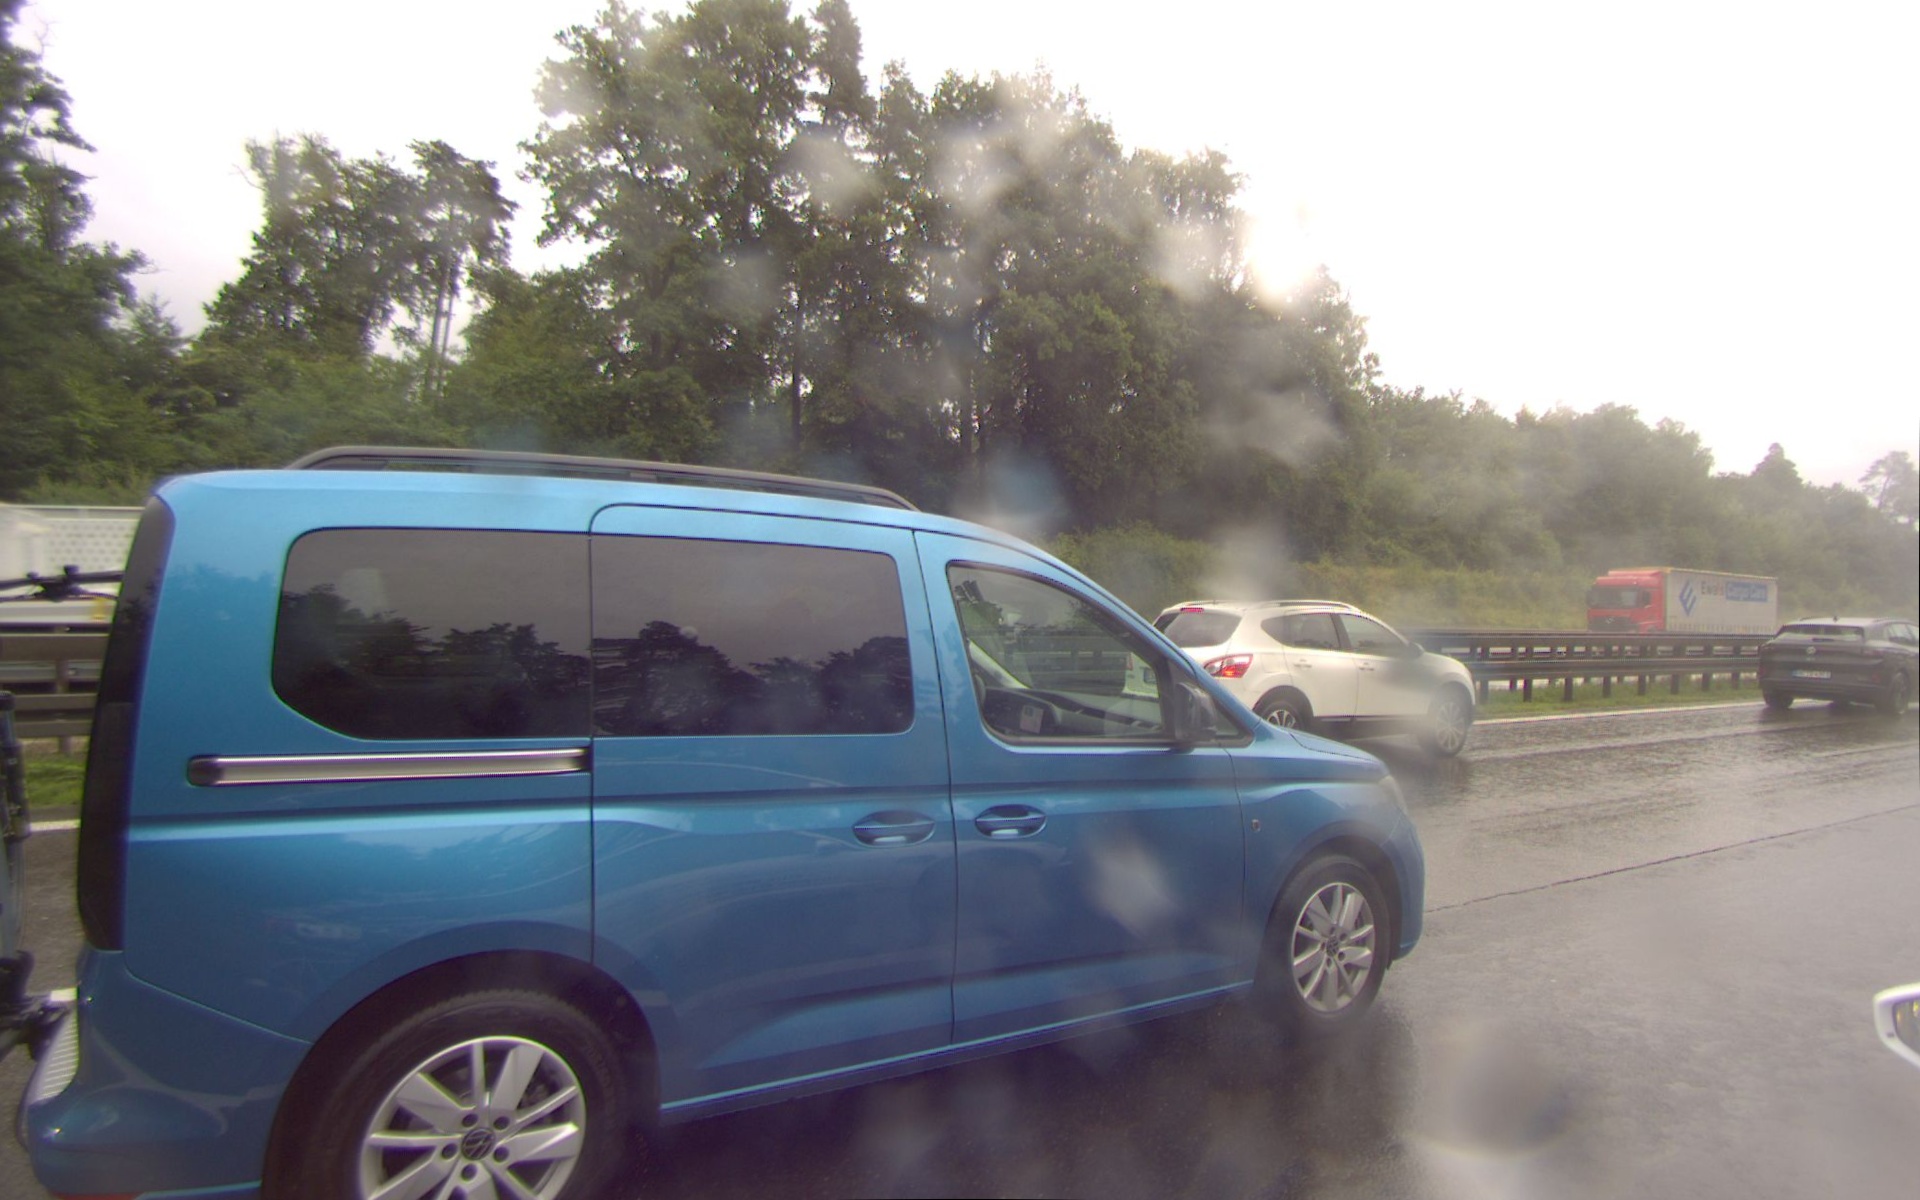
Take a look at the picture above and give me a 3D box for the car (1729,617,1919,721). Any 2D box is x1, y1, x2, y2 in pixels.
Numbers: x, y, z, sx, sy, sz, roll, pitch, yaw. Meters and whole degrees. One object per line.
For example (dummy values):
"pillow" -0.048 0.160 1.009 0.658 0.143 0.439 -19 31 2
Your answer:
"car" 15.834 1.144 17.921 4.414 1.613 1.836 1 0 -31

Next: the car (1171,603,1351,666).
"car" 7.932 0.867 26.330 4.655 1.527 1.983 1 -1 -32

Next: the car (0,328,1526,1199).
"car" -0.655 0.517 3.529 4.951 1.937 2.261 1 0 -27

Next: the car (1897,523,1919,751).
"car" 13.585 0.468 12.101 4.961 2.607 2.200 1 0 -33

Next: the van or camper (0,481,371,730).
"van or camper" -9.781 0.055 11.011 5.633 2.455 2.218 1 0 -30

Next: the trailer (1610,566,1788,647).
"trailer" 40.399 0.484 54.626 13.800 4.006 2.706 1 -2 -31

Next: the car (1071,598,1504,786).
"car" 3.508 0.830 10.582 4.412 1.613 1.837 1 0 -29

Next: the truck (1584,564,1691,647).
"truck" 34.385 0.328 50.997 4.833 4.006 2.691 1 -1 -30
